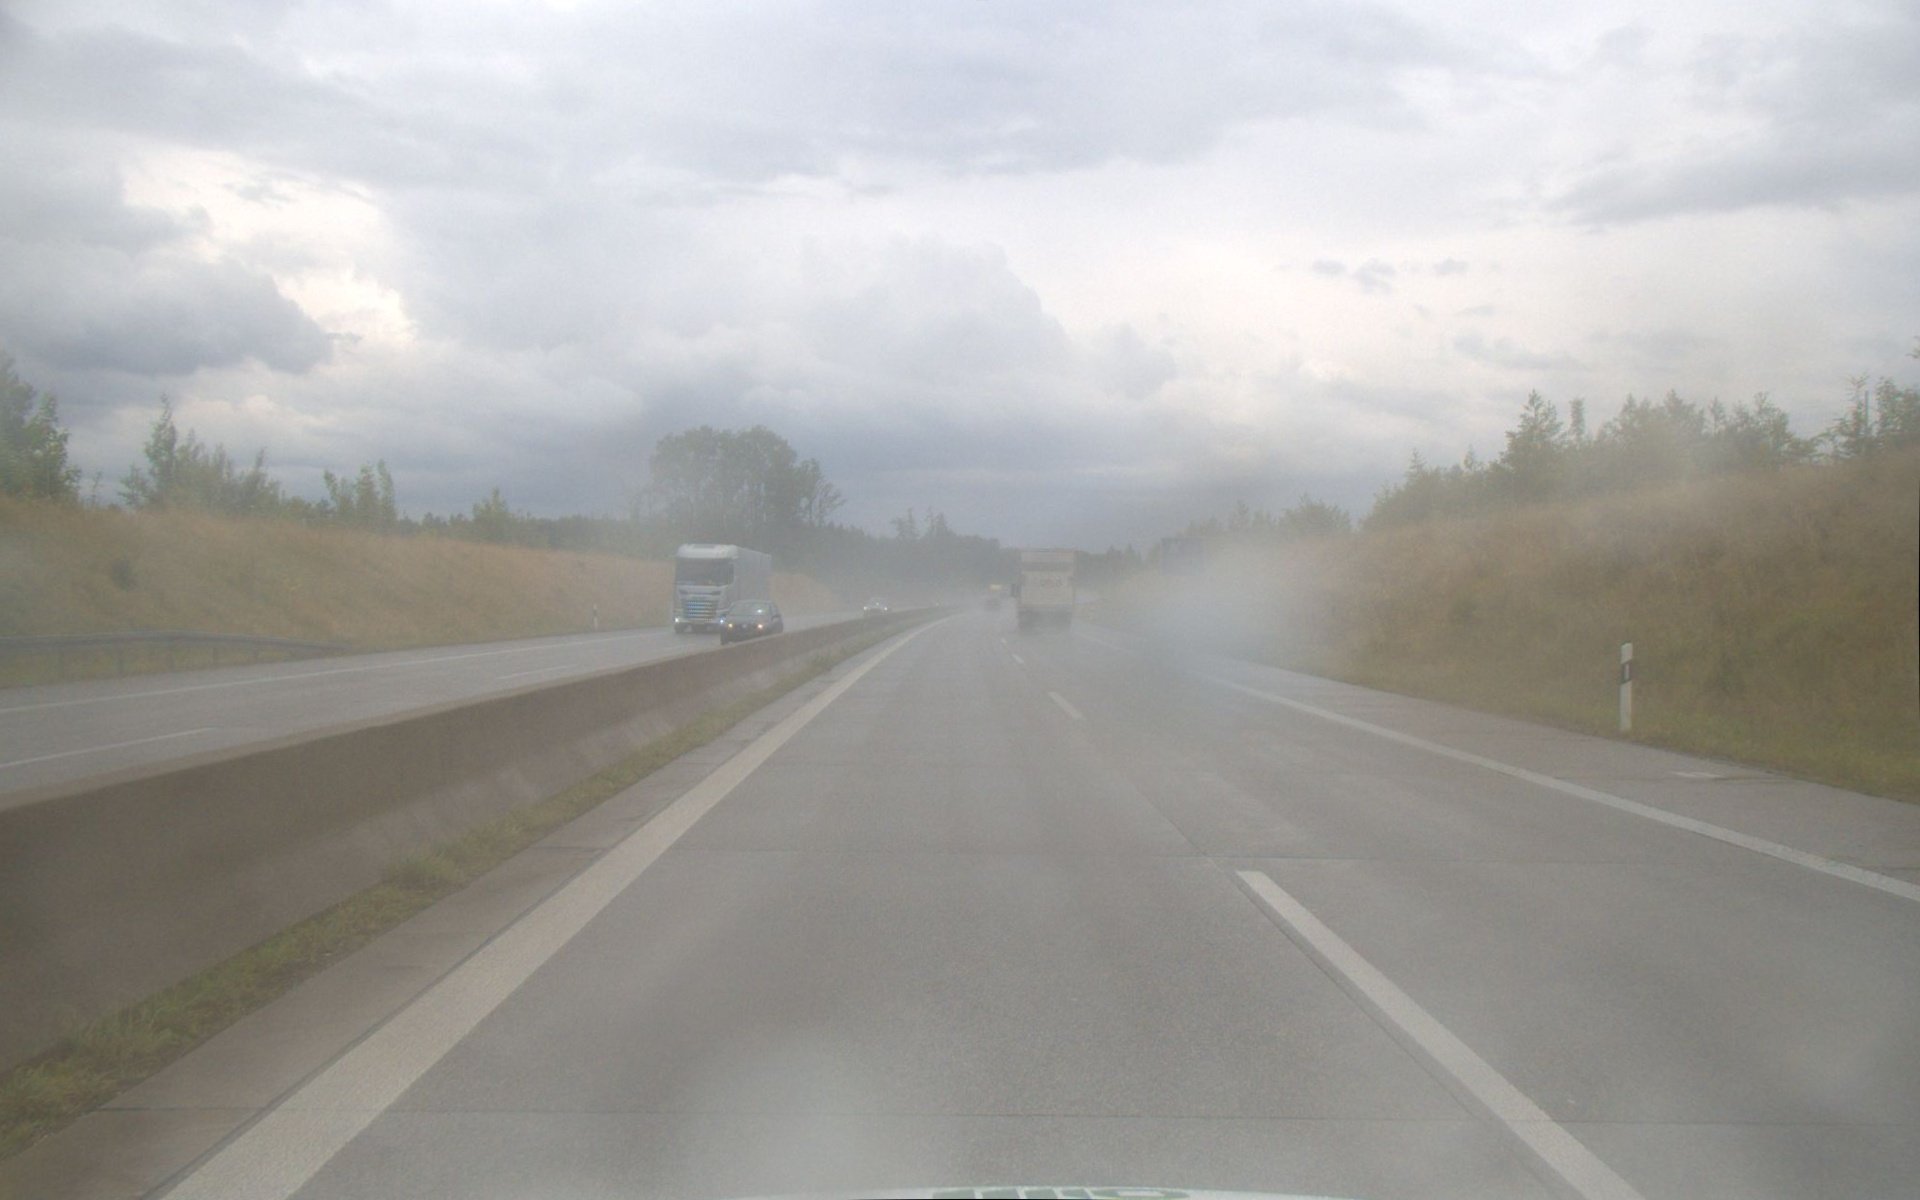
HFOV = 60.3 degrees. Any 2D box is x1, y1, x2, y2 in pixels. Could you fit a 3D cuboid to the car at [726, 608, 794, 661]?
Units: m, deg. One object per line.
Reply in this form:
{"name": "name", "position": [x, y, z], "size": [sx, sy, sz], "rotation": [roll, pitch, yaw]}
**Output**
{"name": "car", "position": [-6.216, 1.037, 51.735], "size": [1.626, 1.512, 4.000], "rotation": [-2, 0, 0]}

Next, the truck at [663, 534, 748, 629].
{"name": "truck", "position": [-10.871, -0.786, 71.087], "size": [2.826, 3.937, 5.194], "rotation": [0, 0, -1]}

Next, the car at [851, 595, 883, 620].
{"name": "car", "position": [-6.599, 0.516, 117.671], "size": [1.952, 1.545, 4.190], "rotation": [-1, 2, 1]}

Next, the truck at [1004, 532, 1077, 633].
{"name": "truck", "position": [3.703, -0.860, 78.080], "size": [3.176, 4.514, 8.248], "rotation": [0, 1, 1]}
